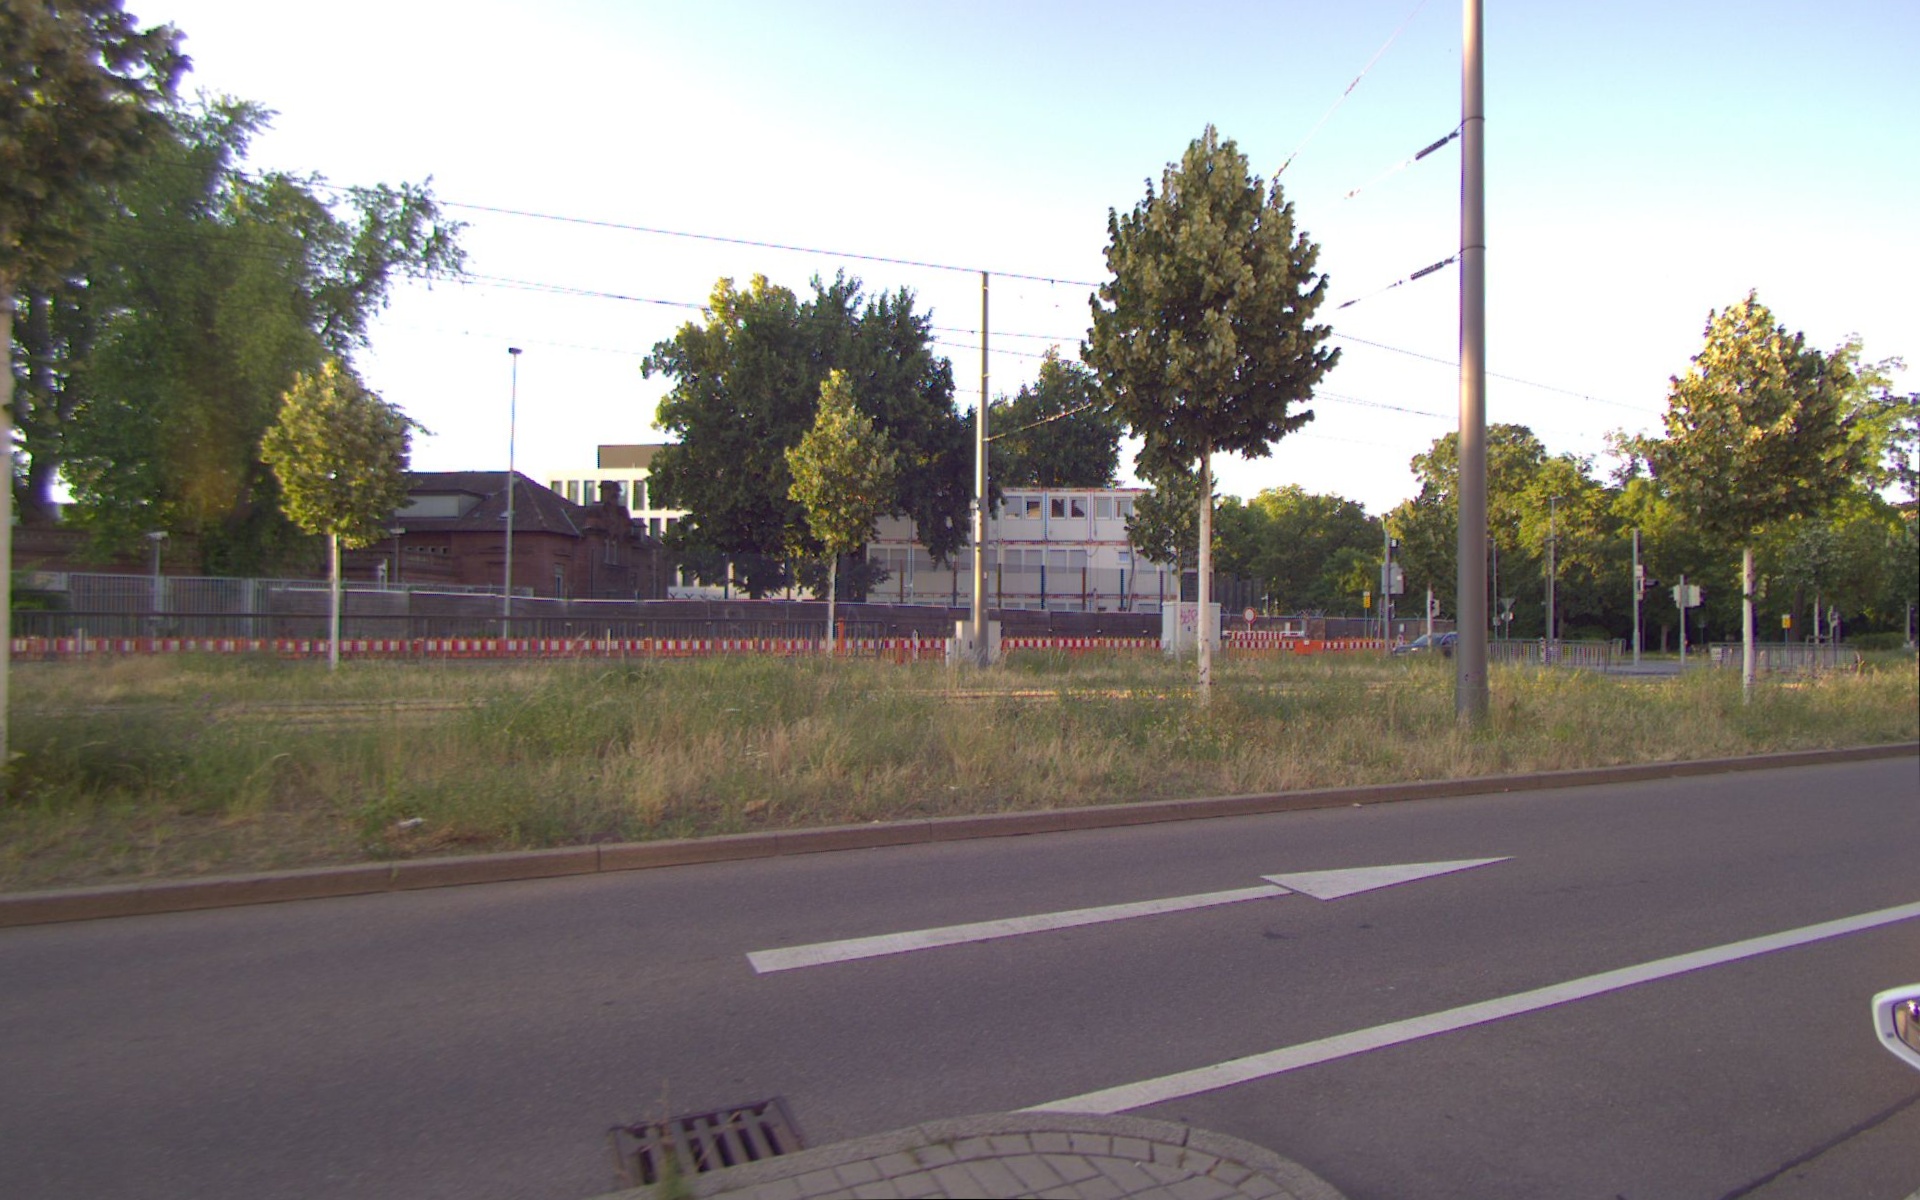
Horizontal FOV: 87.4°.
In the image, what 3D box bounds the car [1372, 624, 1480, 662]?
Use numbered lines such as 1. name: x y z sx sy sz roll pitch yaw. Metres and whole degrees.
1. car: 20.633 1.869 44.473 4.459 1.501 1.927 0 0 -24
